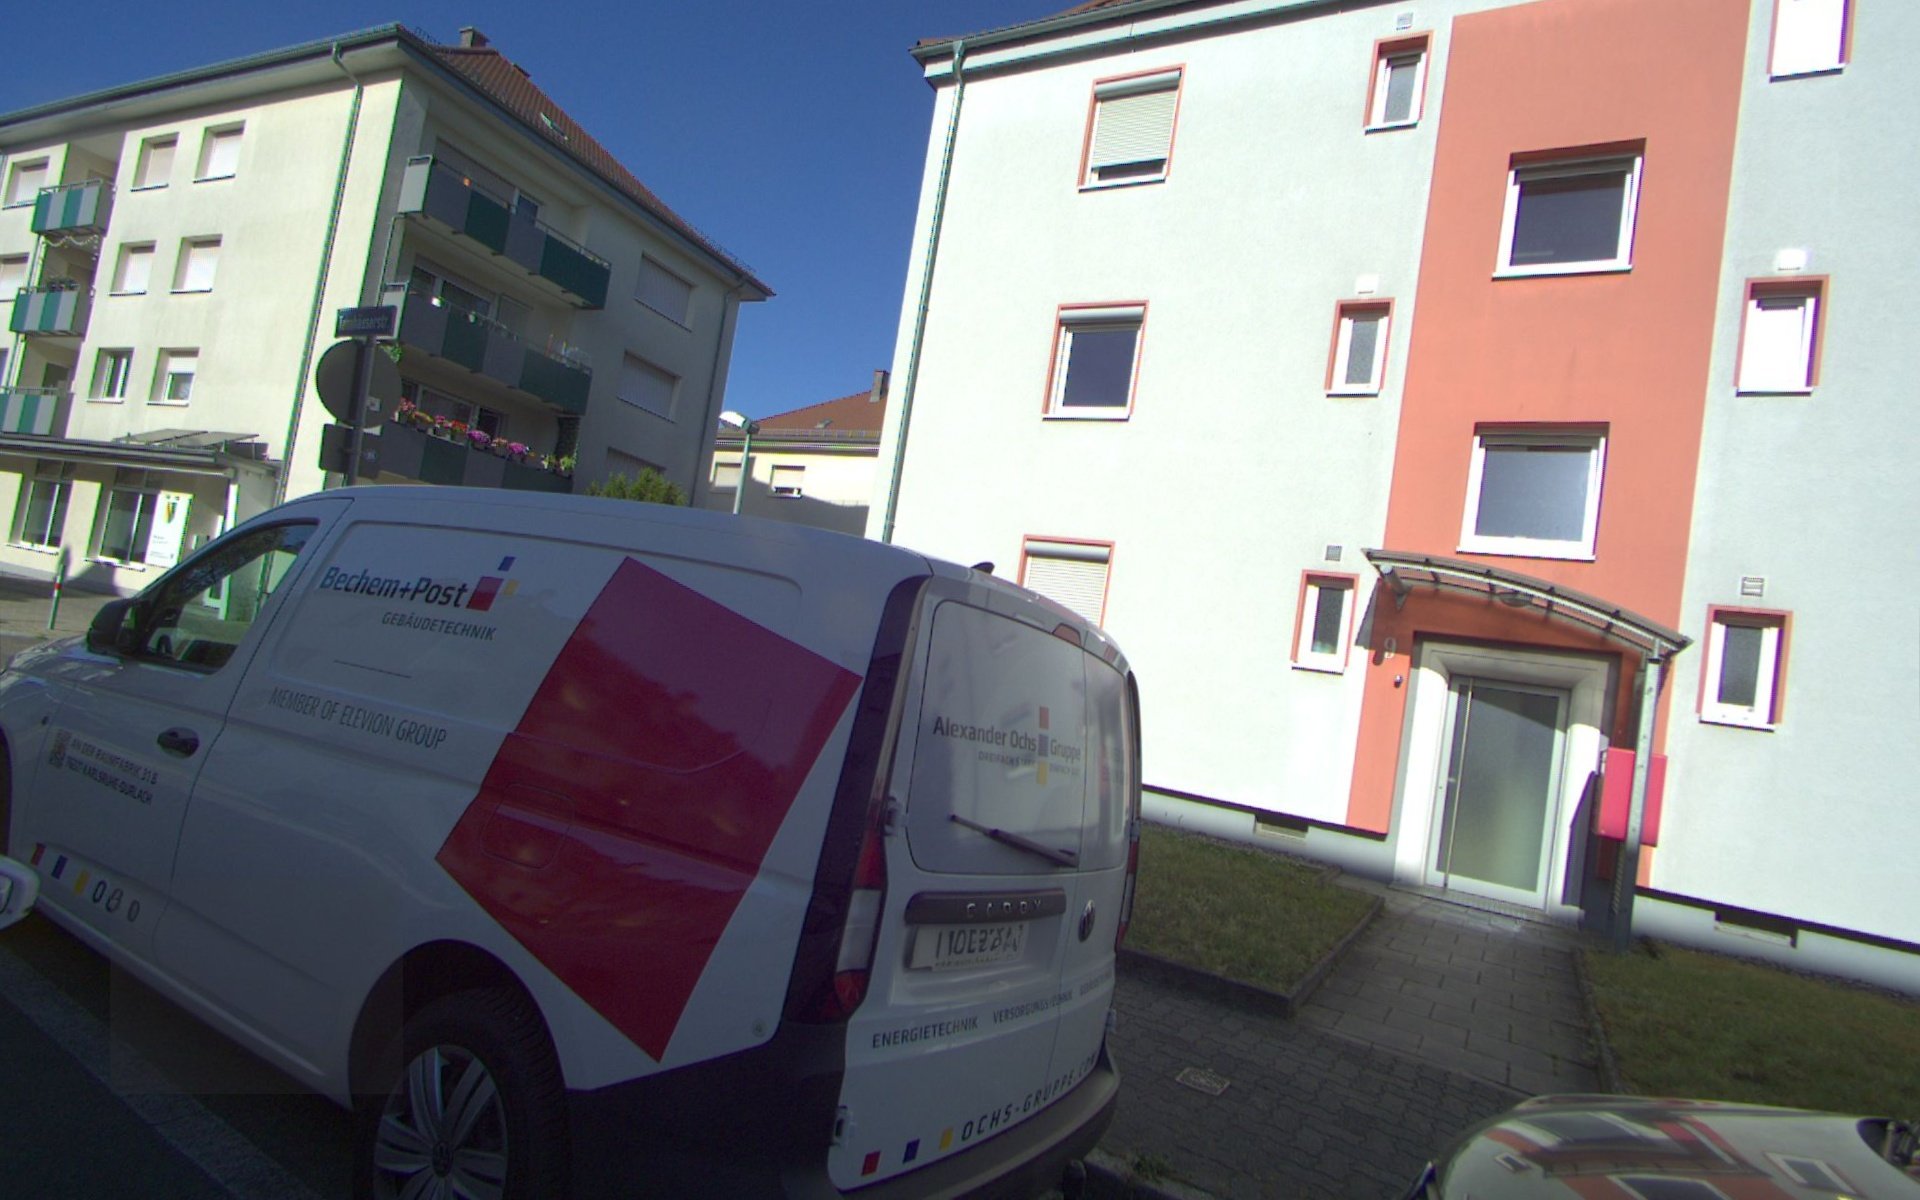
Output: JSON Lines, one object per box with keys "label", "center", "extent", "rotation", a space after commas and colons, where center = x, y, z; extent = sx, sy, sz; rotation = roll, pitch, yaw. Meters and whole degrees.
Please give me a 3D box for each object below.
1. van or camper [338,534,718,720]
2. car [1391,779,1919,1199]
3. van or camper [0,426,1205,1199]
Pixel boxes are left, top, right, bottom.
{"label": "van or camper", "center": [-6.504, 0.585, 15.917], "extent": [1.966, 2.034, 5.143], "rotation": [9, -4, 30]}
{"label": "car", "center": [2.563, 1.339, 1.210], "extent": [3.723, 1.429, 1.582], "rotation": [7, -8, 29]}
{"label": "van or camper", "center": [-1.776, 0.536, 3.580], "extent": [4.655, 1.766, 1.798], "rotation": [7, -4, 31]}
